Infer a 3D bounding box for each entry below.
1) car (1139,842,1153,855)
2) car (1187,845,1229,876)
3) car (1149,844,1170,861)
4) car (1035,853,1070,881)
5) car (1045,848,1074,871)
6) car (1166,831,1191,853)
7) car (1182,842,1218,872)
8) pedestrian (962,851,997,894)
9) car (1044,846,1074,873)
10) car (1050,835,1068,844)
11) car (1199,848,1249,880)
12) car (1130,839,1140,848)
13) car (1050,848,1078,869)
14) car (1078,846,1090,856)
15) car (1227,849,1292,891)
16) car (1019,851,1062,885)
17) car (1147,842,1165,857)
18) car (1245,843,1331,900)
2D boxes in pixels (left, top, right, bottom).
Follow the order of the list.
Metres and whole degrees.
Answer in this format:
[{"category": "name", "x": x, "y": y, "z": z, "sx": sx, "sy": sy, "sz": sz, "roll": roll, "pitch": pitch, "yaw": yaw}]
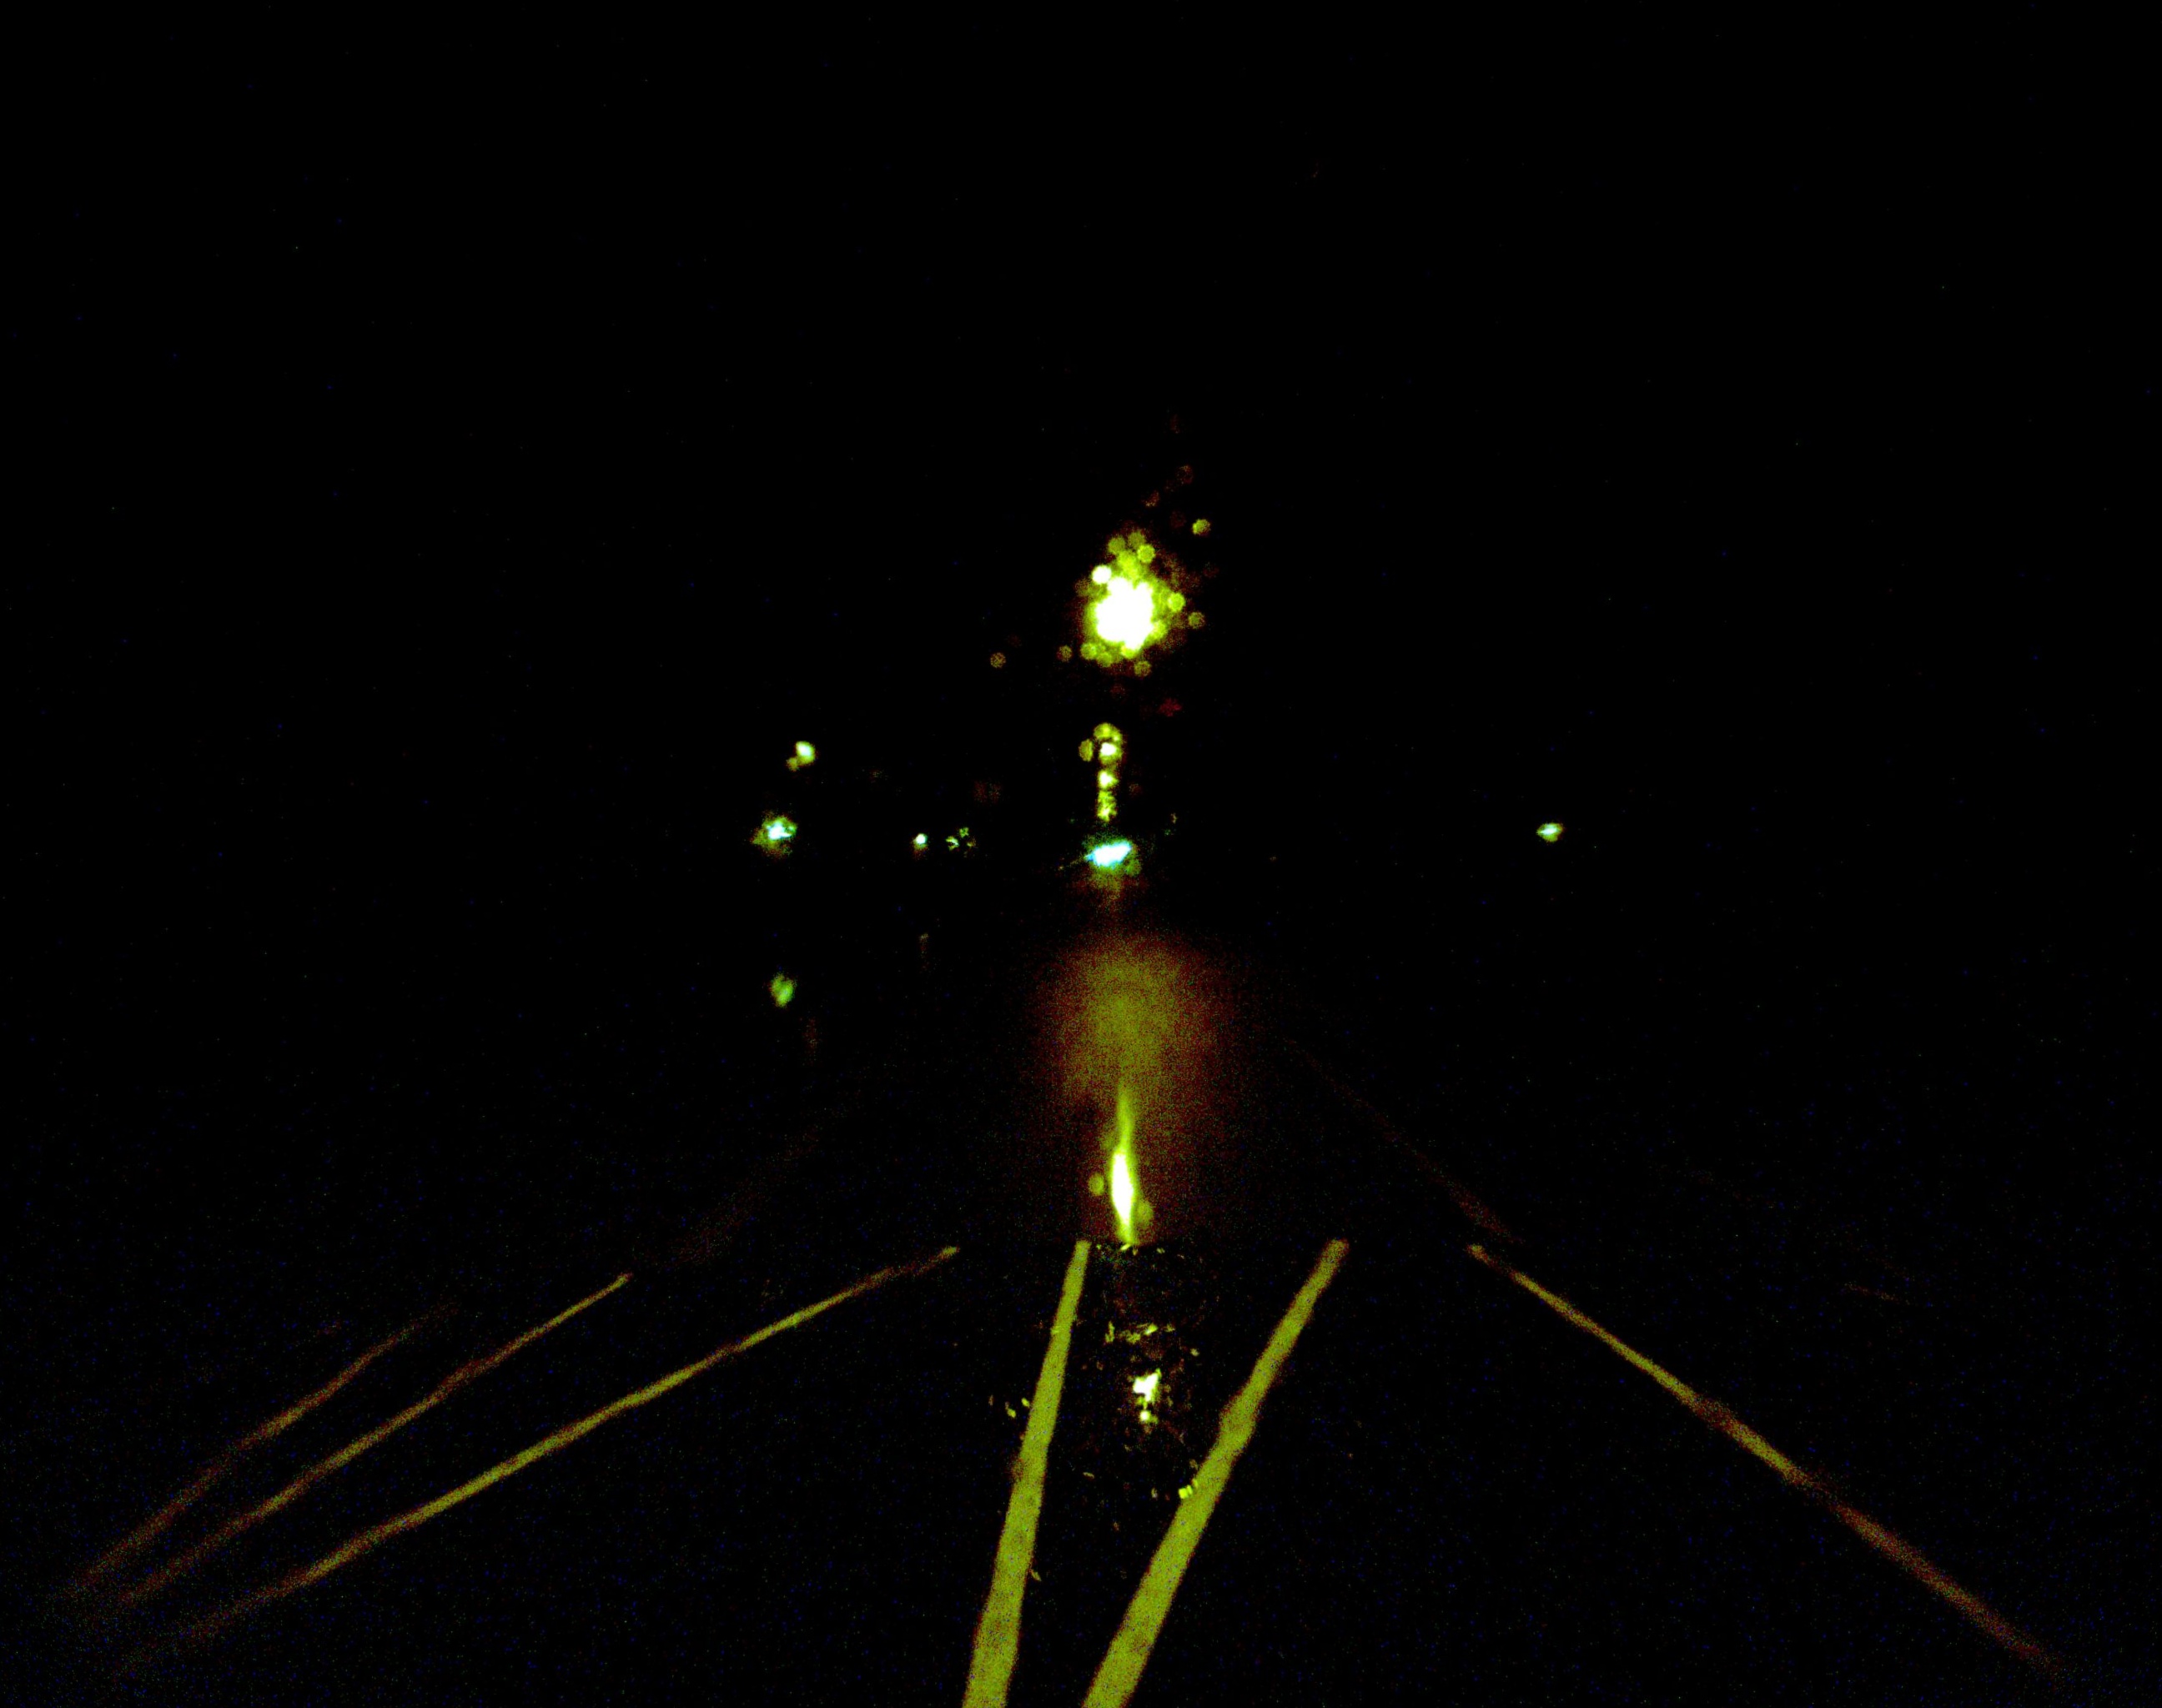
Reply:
[{"category": "car", "x": 8.122, "y": -0.657, "z": 95.085, "sx": 1.669, "sy": 1.531, "sz": 4.391, "roll": 0, "pitch": 1, "yaw": 3}, {"category": "car", "x": 6.689, "y": 0.306, "z": 40.361, "sx": 1.602, "sy": 1.478, "sz": 4.274, "roll": 2, "pitch": 1, "yaw": 2}, {"category": "car", "x": 8.110, "y": -0.181, "z": 78.714, "sx": 1.670, "sy": 1.531, "sz": 4.389, "roll": 2, "pitch": 1, "yaw": 0}, {"category": "car", "x": -1.617, "y": 0.723, "z": 44.753, "sx": 1.827, "sy": 1.414, "sz": 4.487, "roll": 0, "pitch": 1, "yaw": 1}, {"category": "car", "x": -1.505, "y": 0.374, "z": 54.532, "sx": 1.804, "sy": 1.522, "sz": 5.050, "roll": 0, "pitch": 1, "yaw": 1}, {"category": "car", "x": 7.656, "y": -0.963, "z": 60.064, "sx": 1.478, "sy": 1.611, "sz": 3.373, "roll": 2, "pitch": 1, "yaw": 0}, {"category": "car", "x": 7.071, "y": 0.130, "z": 45.598, "sx": 1.602, "sy": 1.596, "sz": 4.258, "roll": 2, "pitch": 1, "yaw": 2}, {"category": "pedestrian", "x": -3.871, "y": 0.692, "z": 29.085, "sx": 1.052, "sy": 1.566, "sz": 1.018, "roll": -1, "pitch": 2, "yaw": 7}, {"category": "car", "x": -1.437, "y": 0.322, "z": 51.108, "sx": 1.827, "sy": 1.628, "sz": 4.487, "roll": 0, "pitch": 1, "yaw": 1}, {"category": "car", "x": -5.121, "y": -3.398, "z": 178.295, "sx": 4.021, "sy": 2.157, "sz": 1.802, "roll": 0, "pitch": 2, "yaw": 8}, {"category": "car", "x": 6.460, "y": 0.403, "z": 34.674, "sx": 1.602, "sy": 1.365, "sz": 4.067, "roll": -1, "pitch": 0, "yaw": 2}, {"category": "car", "x": 9.317, "y": -1.836, "z": 130.427, "sx": 1.627, "sy": 1.465, "sz": 3.963, "roll": 0, "pitch": 1, "yaw": 3}, {"category": "car", "x": -1.306, "y": 0.343, "z": 59.868, "sx": 1.828, "sy": 1.539, "sz": 4.352, "roll": 0, "pitch": 1, "yaw": 4}, {"category": "car", "x": 0.413, "y": -0.463, "z": 113.822, "sx": 1.800, "sy": 1.465, "sz": 3.950, "roll": 0, "pitch": 1, "yaw": -1}, {"category": "car", "x": 6.769, "y": 0.571, "z": 29.231, "sx": 1.602, "sy": 1.365, "sz": 4.353, "roll": 2, "pitch": 1, "yaw": 2}, {"category": "car", "x": -1.990, "y": 0.674, "z": 38.570, "sx": 1.827, "sy": 1.522, "sz": 4.782, "roll": 0, "pitch": 1, "yaw": 1}, {"category": "car", "x": 8.268, "y": -0.562, "z": 84.222, "sx": 1.669, "sy": 1.531, "sz": 4.390, "roll": 2, "pitch": 1, "yaw": 2}, {"category": "car", "x": 6.446, "y": 0.476, "z": 24.135, "sx": 1.602, "sy": 1.555, "sz": 4.379, "roll": 2, "pitch": 1, "yaw": 2}]
